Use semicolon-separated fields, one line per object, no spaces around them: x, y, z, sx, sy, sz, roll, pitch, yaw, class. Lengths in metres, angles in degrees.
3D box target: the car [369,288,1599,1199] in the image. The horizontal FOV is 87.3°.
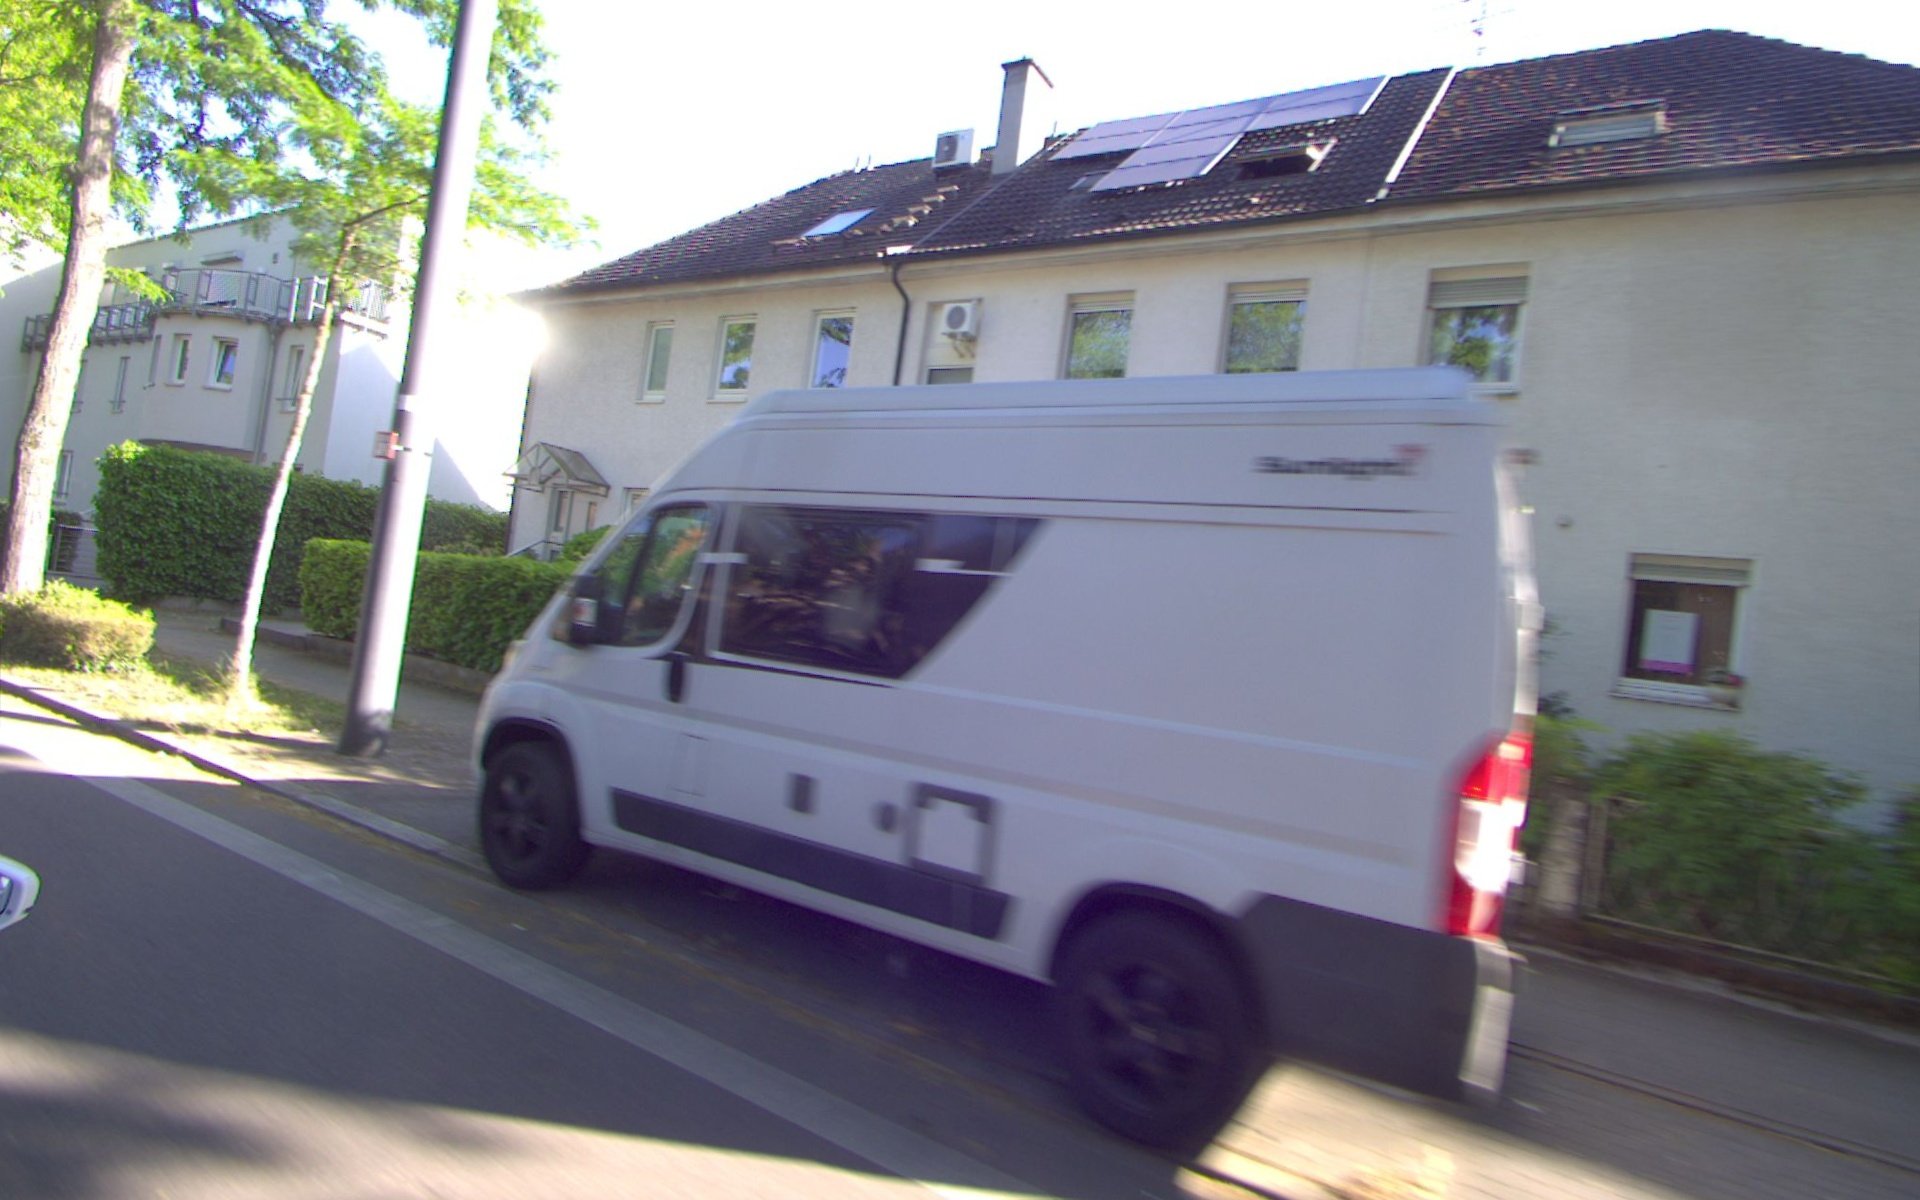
-0.218;0.326;5.080;5.492;2.686;2.248;7;0;31;car
